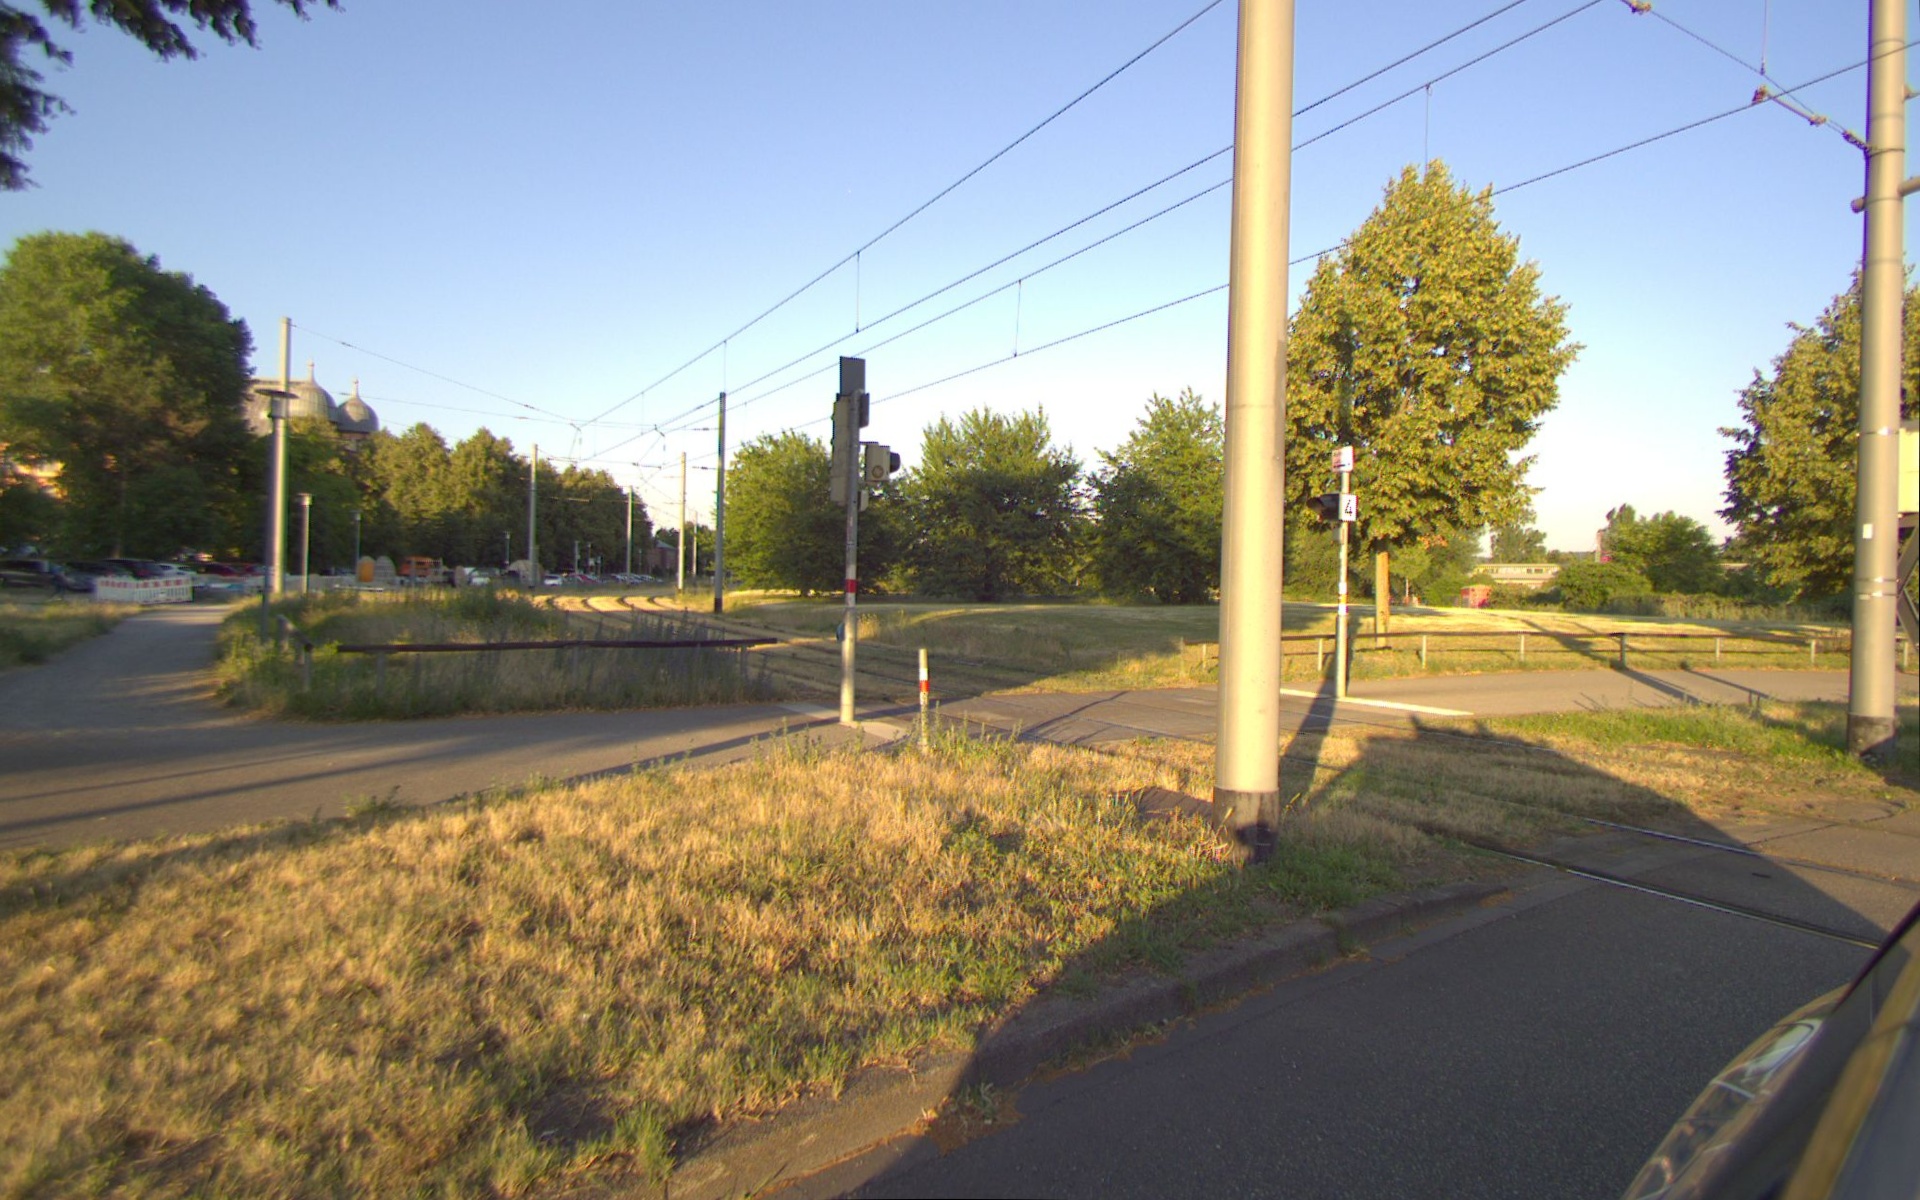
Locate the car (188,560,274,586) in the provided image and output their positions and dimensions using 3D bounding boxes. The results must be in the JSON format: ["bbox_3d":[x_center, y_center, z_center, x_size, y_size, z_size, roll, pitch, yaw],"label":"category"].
[{"bbox_3d":[-45.796,-1.693,63.650,3.917,1.573,1.907,1,1,-9],"label":"car"}]

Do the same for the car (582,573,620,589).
[{"bbox_3d":[-37.465,-1.996,105.640,3.536,1.501,1.714,2,-1,-12],"label":"car"}]

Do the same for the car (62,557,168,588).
[{"bbox_3d":[-44.801,-1.459,53.743,3.917,1.573,1.907,1,1,-9],"label":"car"}]

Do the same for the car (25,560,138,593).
[{"bbox_3d":[-44.465,-1.199,51.306,3.917,1.573,1.907,1,1,-9],"label":"car"}]

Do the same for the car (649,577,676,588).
[{"bbox_3d":[-42.158,-2.455,143.652,3.536,1.501,1.714,2,-1,-12],"label":"car"}]

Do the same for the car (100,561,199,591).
[{"bbox_3d":[-45.333,-1.337,56.696,3.917,1.573,1.907,1,1,-9],"label":"car"}]

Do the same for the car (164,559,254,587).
[{"bbox_3d":[-45.357,-1.626,61.192,3.917,1.573,1.907,1,1,-9],"label":"car"}]

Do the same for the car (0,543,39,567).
[{"bbox_3d":[-77.342,-3.677,82.030,1.959,1.767,4.005,2,0,-7],"label":"car"}]

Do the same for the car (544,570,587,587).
[{"bbox_3d":[-38.064,-2.058,97.723,3.536,1.501,1.714,2,-1,-12],"label":"car"}]

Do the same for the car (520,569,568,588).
[{"bbox_3d":[-36.191,-1.833,88.103,3.536,1.501,1.714,2,-1,-12],"label":"car"}]

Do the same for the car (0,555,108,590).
[{"bbox_3d":[-44.034,-1.335,48.846,4.014,1.573,1.907,1,1,-9],"label":"car"}]

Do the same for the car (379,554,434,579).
[{"bbox_3d":[-49.512,-2.963,90.537,3.917,2.121,1.907,1,1,-9],"label":"car"}]

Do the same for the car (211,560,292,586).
[{"bbox_3d":[-46.226,-1.750,66.083,3.917,1.573,1.907,1,1,-9],"label":"car"}]
